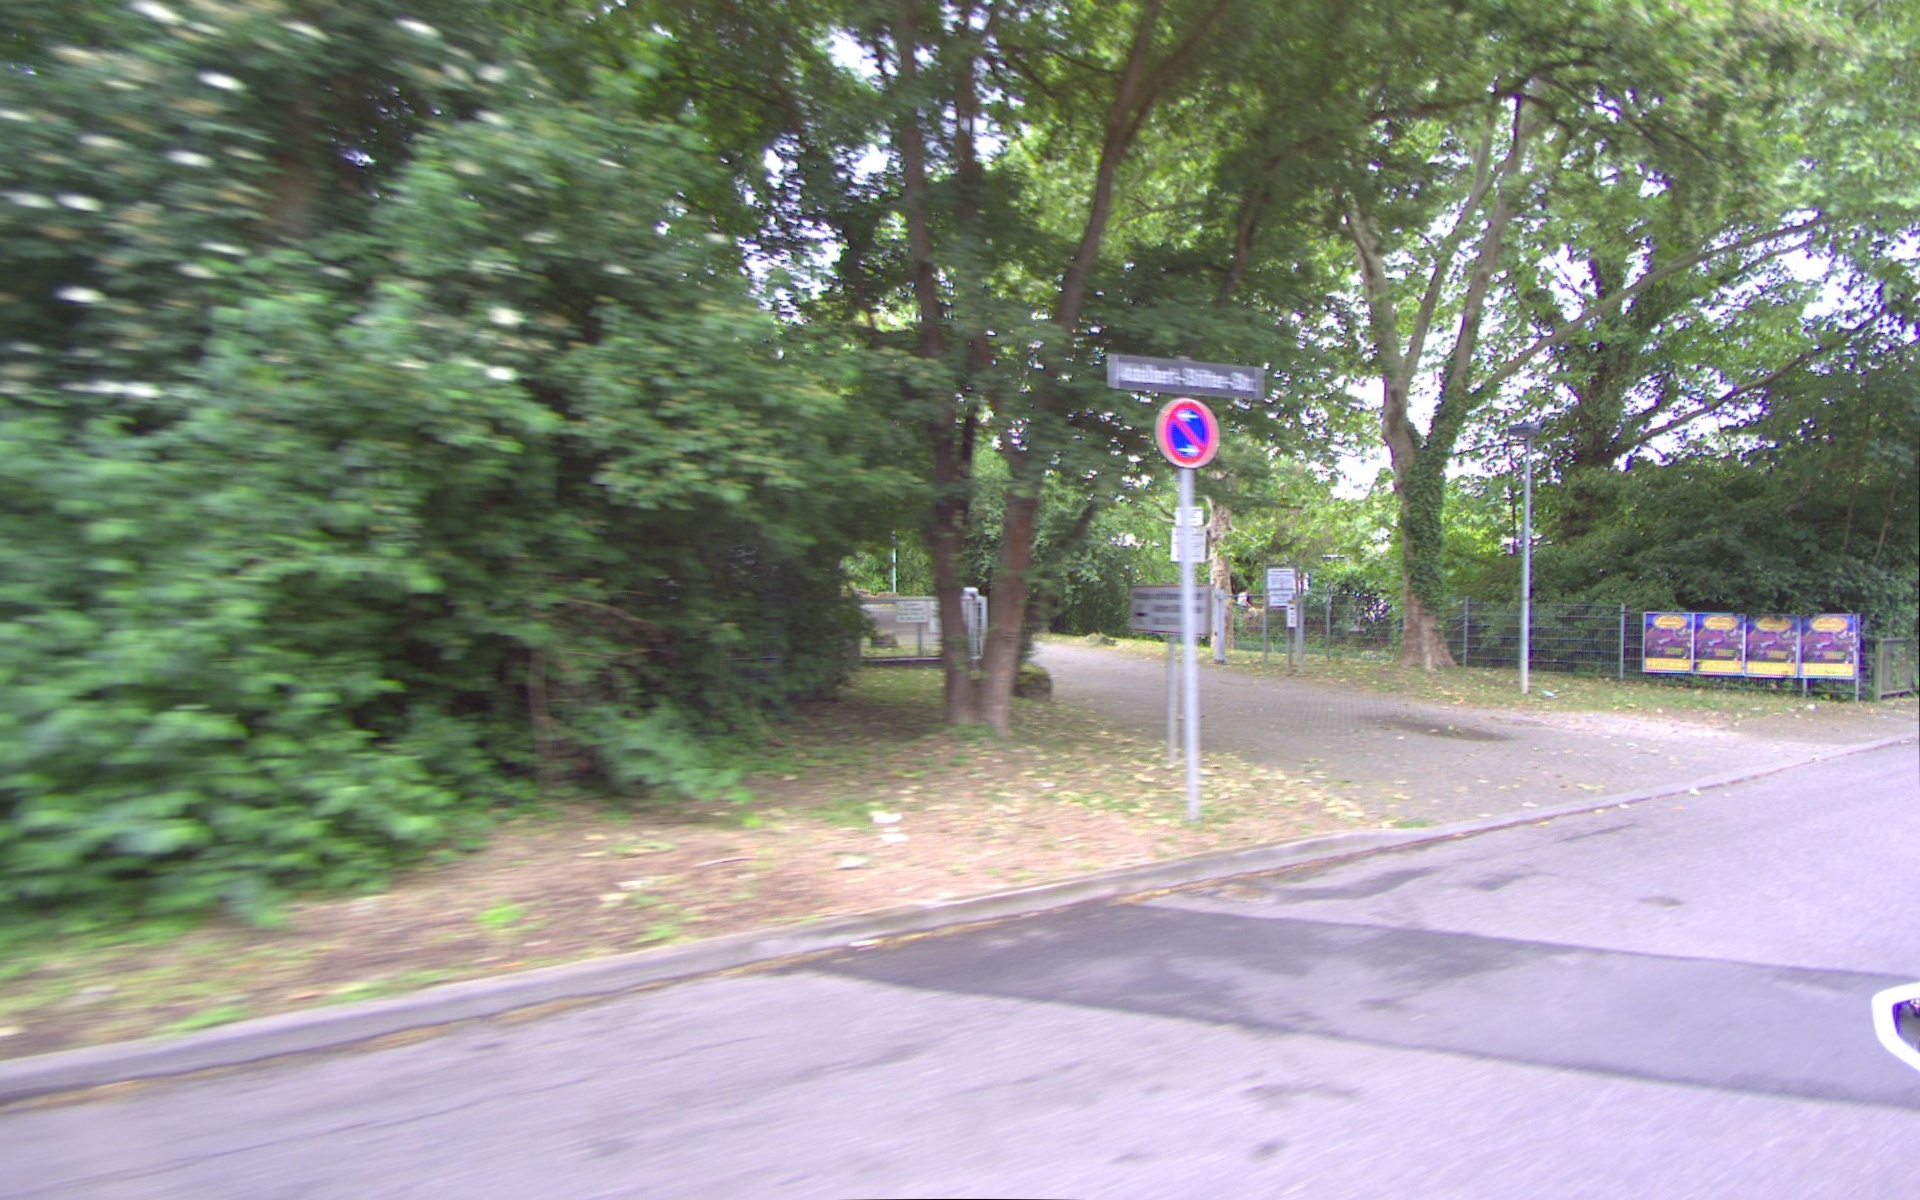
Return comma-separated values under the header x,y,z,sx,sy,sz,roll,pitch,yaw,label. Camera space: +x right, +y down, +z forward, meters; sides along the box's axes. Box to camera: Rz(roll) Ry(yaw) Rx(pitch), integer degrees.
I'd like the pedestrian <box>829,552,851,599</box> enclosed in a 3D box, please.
x,y,z,sx,sy,sz,roll,pitch,yaw,label
-5.388,-1.097,45.034,0.783,2.040,0.990,2,0,-16,pedestrian
